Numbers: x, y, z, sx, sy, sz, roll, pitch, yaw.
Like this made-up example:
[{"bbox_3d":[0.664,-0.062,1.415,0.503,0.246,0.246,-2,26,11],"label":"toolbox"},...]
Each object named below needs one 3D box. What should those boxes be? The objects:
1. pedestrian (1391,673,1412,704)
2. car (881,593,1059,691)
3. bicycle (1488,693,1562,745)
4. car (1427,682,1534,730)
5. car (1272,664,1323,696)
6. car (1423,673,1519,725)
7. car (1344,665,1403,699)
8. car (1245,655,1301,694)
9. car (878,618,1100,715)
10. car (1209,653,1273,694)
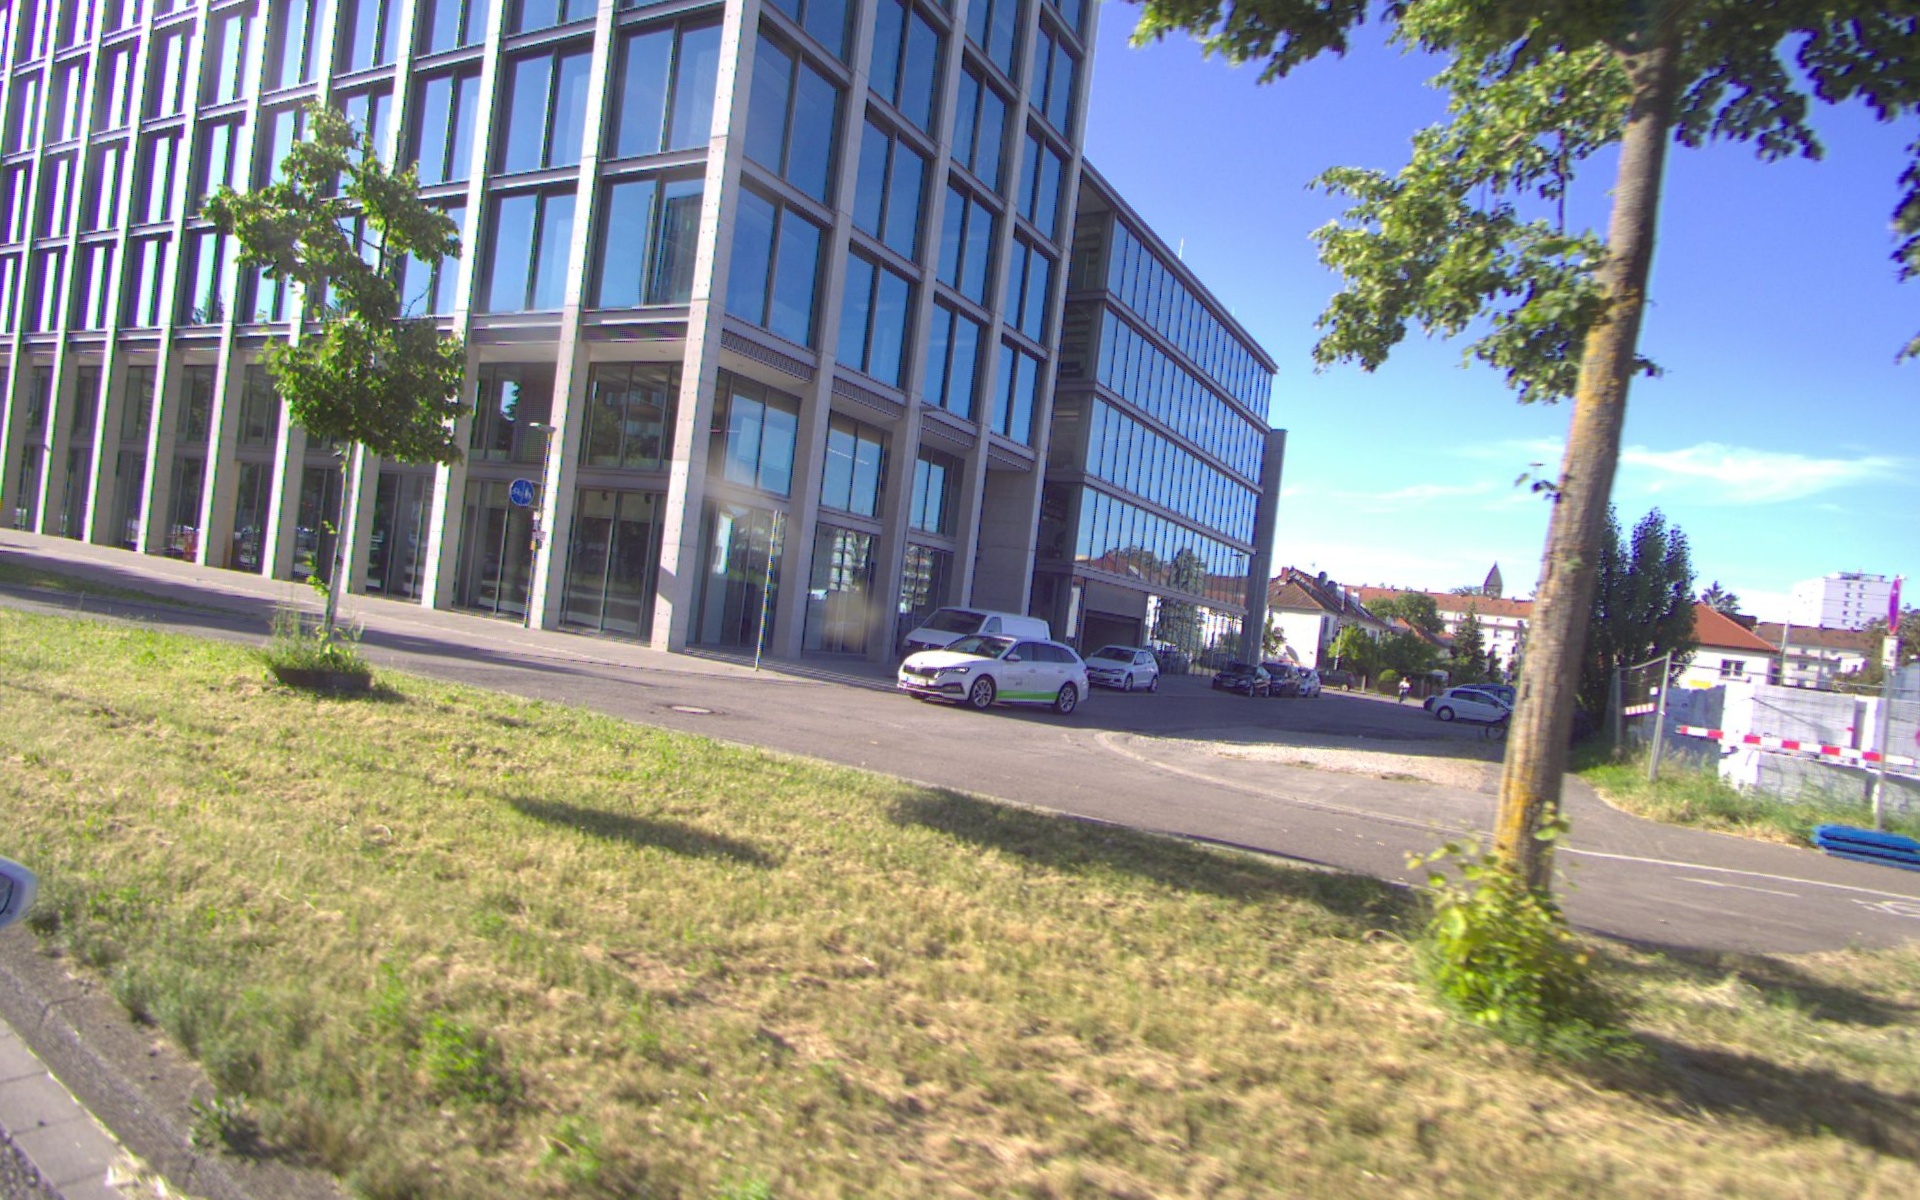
[{"bbox_3d":[28.094,5.651,64.034,0.947,1.853,1.195,5,-1,29],"label":"pedestrian"},{"bbox_3d":[0.397,1.154,25.790,1.907,2.005,5.071,7,-1,34],"label":"car"},{"bbox_3d":[16.337,3.432,29.103,1.718,1.206,0.583,7,0,33],"label":"bicycle"},{"bbox_3d":[22.637,4.578,43.773,3.932,1.482,1.675,7,-1,30],"label":"car"},{"bbox_3d":[18.450,4.377,54.839,1.719,1.499,3.841,7,-1,31],"label":"car"},{"bbox_3d":[24.828,4.783,48.889,3.932,1.872,1.674,7,0,30],"label":"car"},{"bbox_3d":[31.129,6.166,75.744,3.929,2.038,1.999,5,-1,25],"label":"car"},{"bbox_3d":[15.748,3.783,50.541,1.720,1.680,3.841,5,-2,31],"label":"car"},{"bbox_3d":[0.686,1.359,19.796,1.750,1.409,4.508,5,-3,42],"label":"car"},{"bbox_3d":[12.697,3.321,45.254,1.720,1.570,3.841,5,-2,31],"label":"car"}]
